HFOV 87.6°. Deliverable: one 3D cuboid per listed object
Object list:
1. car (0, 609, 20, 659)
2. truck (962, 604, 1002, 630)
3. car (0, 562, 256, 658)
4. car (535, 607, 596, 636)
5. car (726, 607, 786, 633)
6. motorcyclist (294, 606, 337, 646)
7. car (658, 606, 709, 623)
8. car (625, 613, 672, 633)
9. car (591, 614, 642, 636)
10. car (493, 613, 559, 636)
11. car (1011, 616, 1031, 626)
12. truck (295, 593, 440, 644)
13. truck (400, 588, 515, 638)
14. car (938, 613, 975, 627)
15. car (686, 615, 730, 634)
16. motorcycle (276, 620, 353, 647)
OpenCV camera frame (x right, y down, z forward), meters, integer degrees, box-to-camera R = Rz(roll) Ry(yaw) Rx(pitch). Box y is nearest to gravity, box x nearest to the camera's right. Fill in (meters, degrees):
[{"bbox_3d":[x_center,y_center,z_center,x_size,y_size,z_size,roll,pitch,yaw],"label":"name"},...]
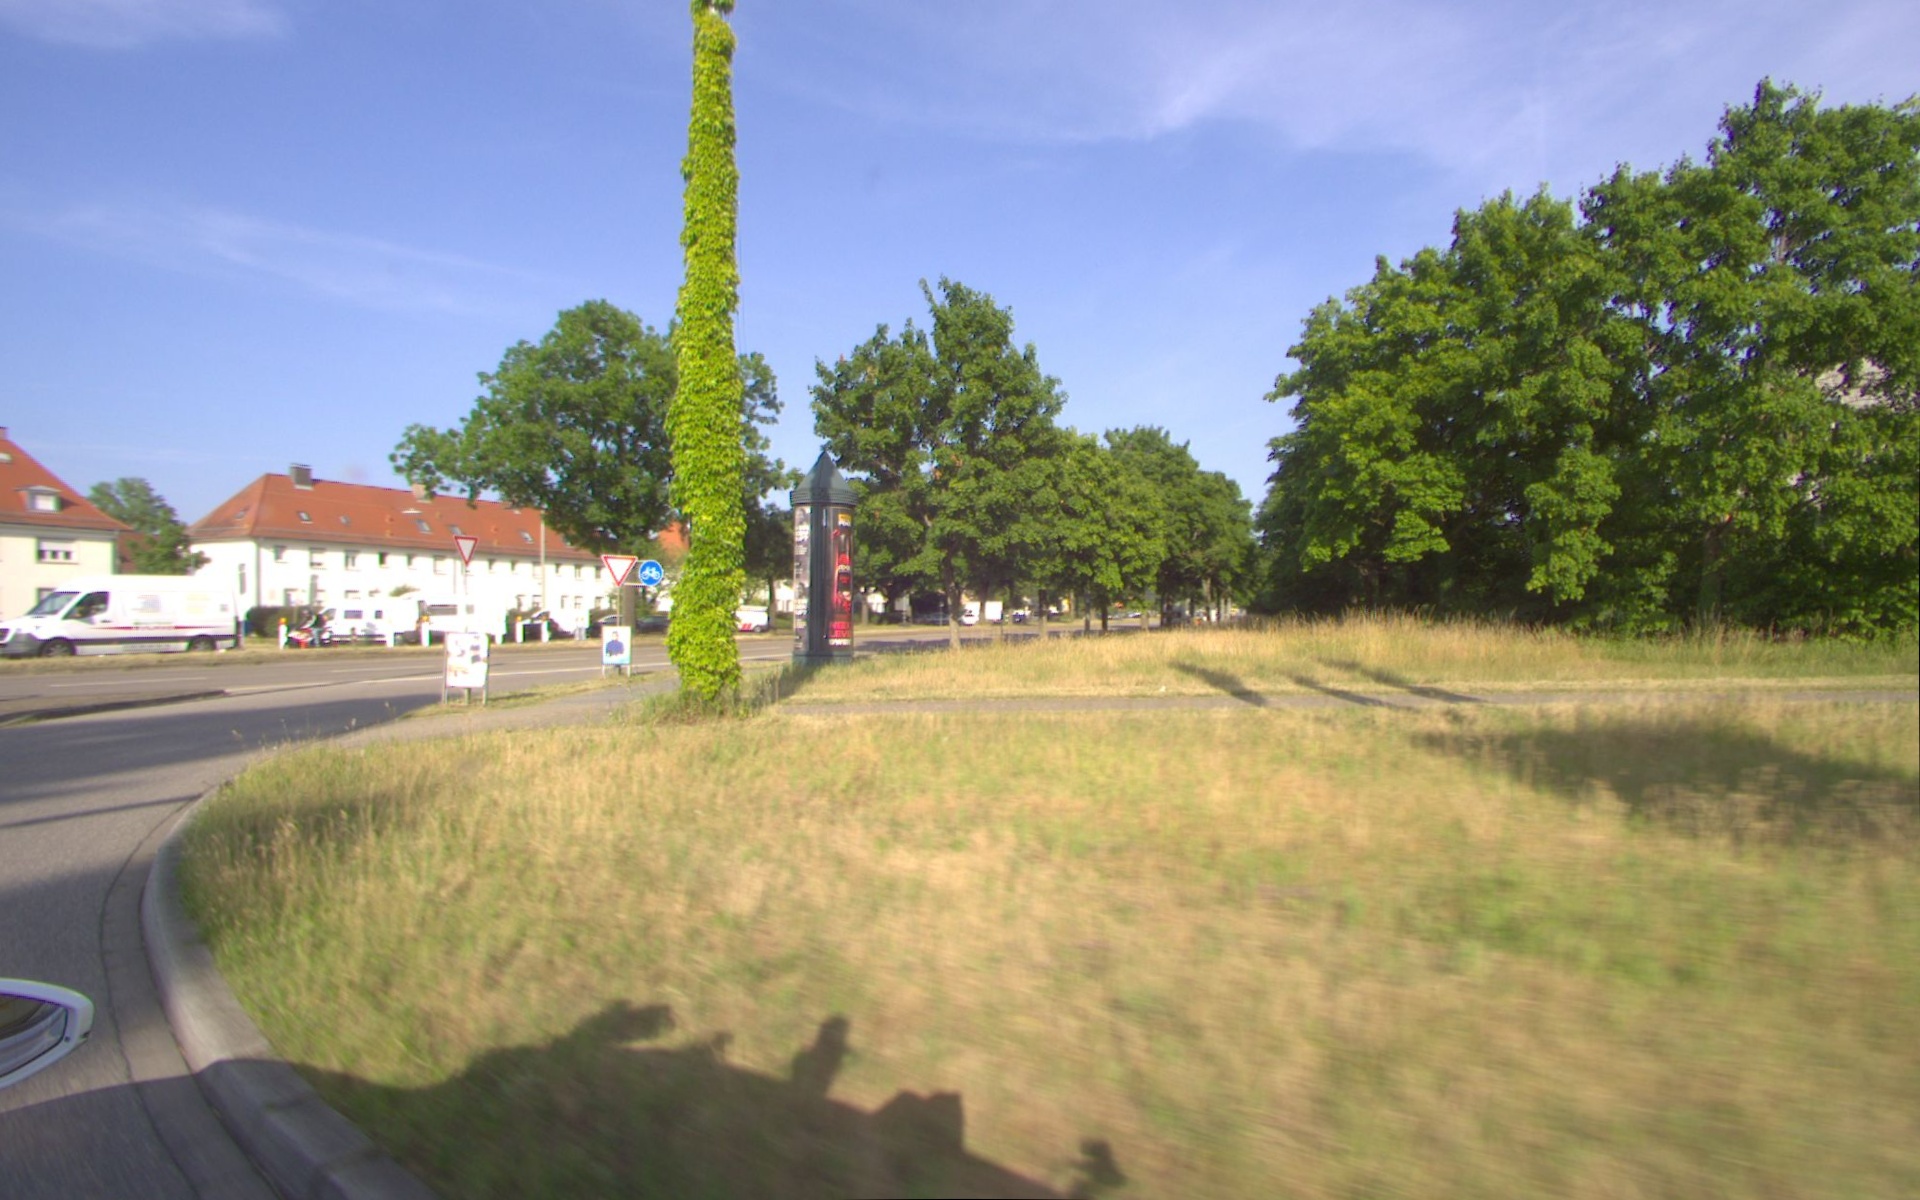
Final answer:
[{"bbox_3d":[-29.662,0.973,28.435,1.687,1.472,3.989,0,-1,24],"label":"car"},{"bbox_3d":[3.125,2.416,141.862,5.421,3.510,1.991,1,0,-27],"label":"truck"},{"bbox_3d":[-25.173,0.332,30.314,1.966,2.617,6.212,0,-1,23],"label":"car"},{"bbox_3d":[-26.962,1.446,68.467,3.845,1.945,1.890,0,0,-23],"label":"car"},{"bbox_3d":[-17.793,1.718,87.239,4.898,2.261,1.994,0,0,-23],"label":"car"},{"bbox_3d":[-22.410,0.893,34.805,0.668,1.369,1.066,0,0,22],"label":"motorcyclist"},{"bbox_3d":[-28.509,1.460,103.131,4.895,1.741,1.995,0,-1,23],"label":"car"},{"bbox_3d":[-24.110,1.785,77.498,3.373,1.533,1.892,0,-1,-19],"label":"car"},{"bbox_3d":[-24.578,1.791,71.710,3.439,1.533,1.892,0,-1,-19],"label":"car"},{"bbox_3d":[-28.364,1.590,65.437,3.849,1.475,1.888,0,-1,-26],"label":"car"},{"bbox_3d":[8.259,2.848,134.751,1.686,1.371,3.992,0,-1,20],"label":"car"},{"bbox_3d":[-31.611,1.021,53.682,6.240,2.557,2.275,1,-1,-12],"label":"truck"},{"bbox_3d":[-29.732,0.774,59.514,5.980,2.892,1.890,0,0,-23],"label":"truck"},{"bbox_3d":[-0.513,2.610,131.194,4.464,1.745,1.995,1,-1,-20],"label":"car"},{"bbox_3d":[-20.466,1.984,81.222,3.373,1.533,1.892,0,-1,-19],"label":"car"},{"bbox_3d":[-22.414,1.146,34.811,0.679,0.878,2.273,0,-1,22],"label":"motorcycle"}]
